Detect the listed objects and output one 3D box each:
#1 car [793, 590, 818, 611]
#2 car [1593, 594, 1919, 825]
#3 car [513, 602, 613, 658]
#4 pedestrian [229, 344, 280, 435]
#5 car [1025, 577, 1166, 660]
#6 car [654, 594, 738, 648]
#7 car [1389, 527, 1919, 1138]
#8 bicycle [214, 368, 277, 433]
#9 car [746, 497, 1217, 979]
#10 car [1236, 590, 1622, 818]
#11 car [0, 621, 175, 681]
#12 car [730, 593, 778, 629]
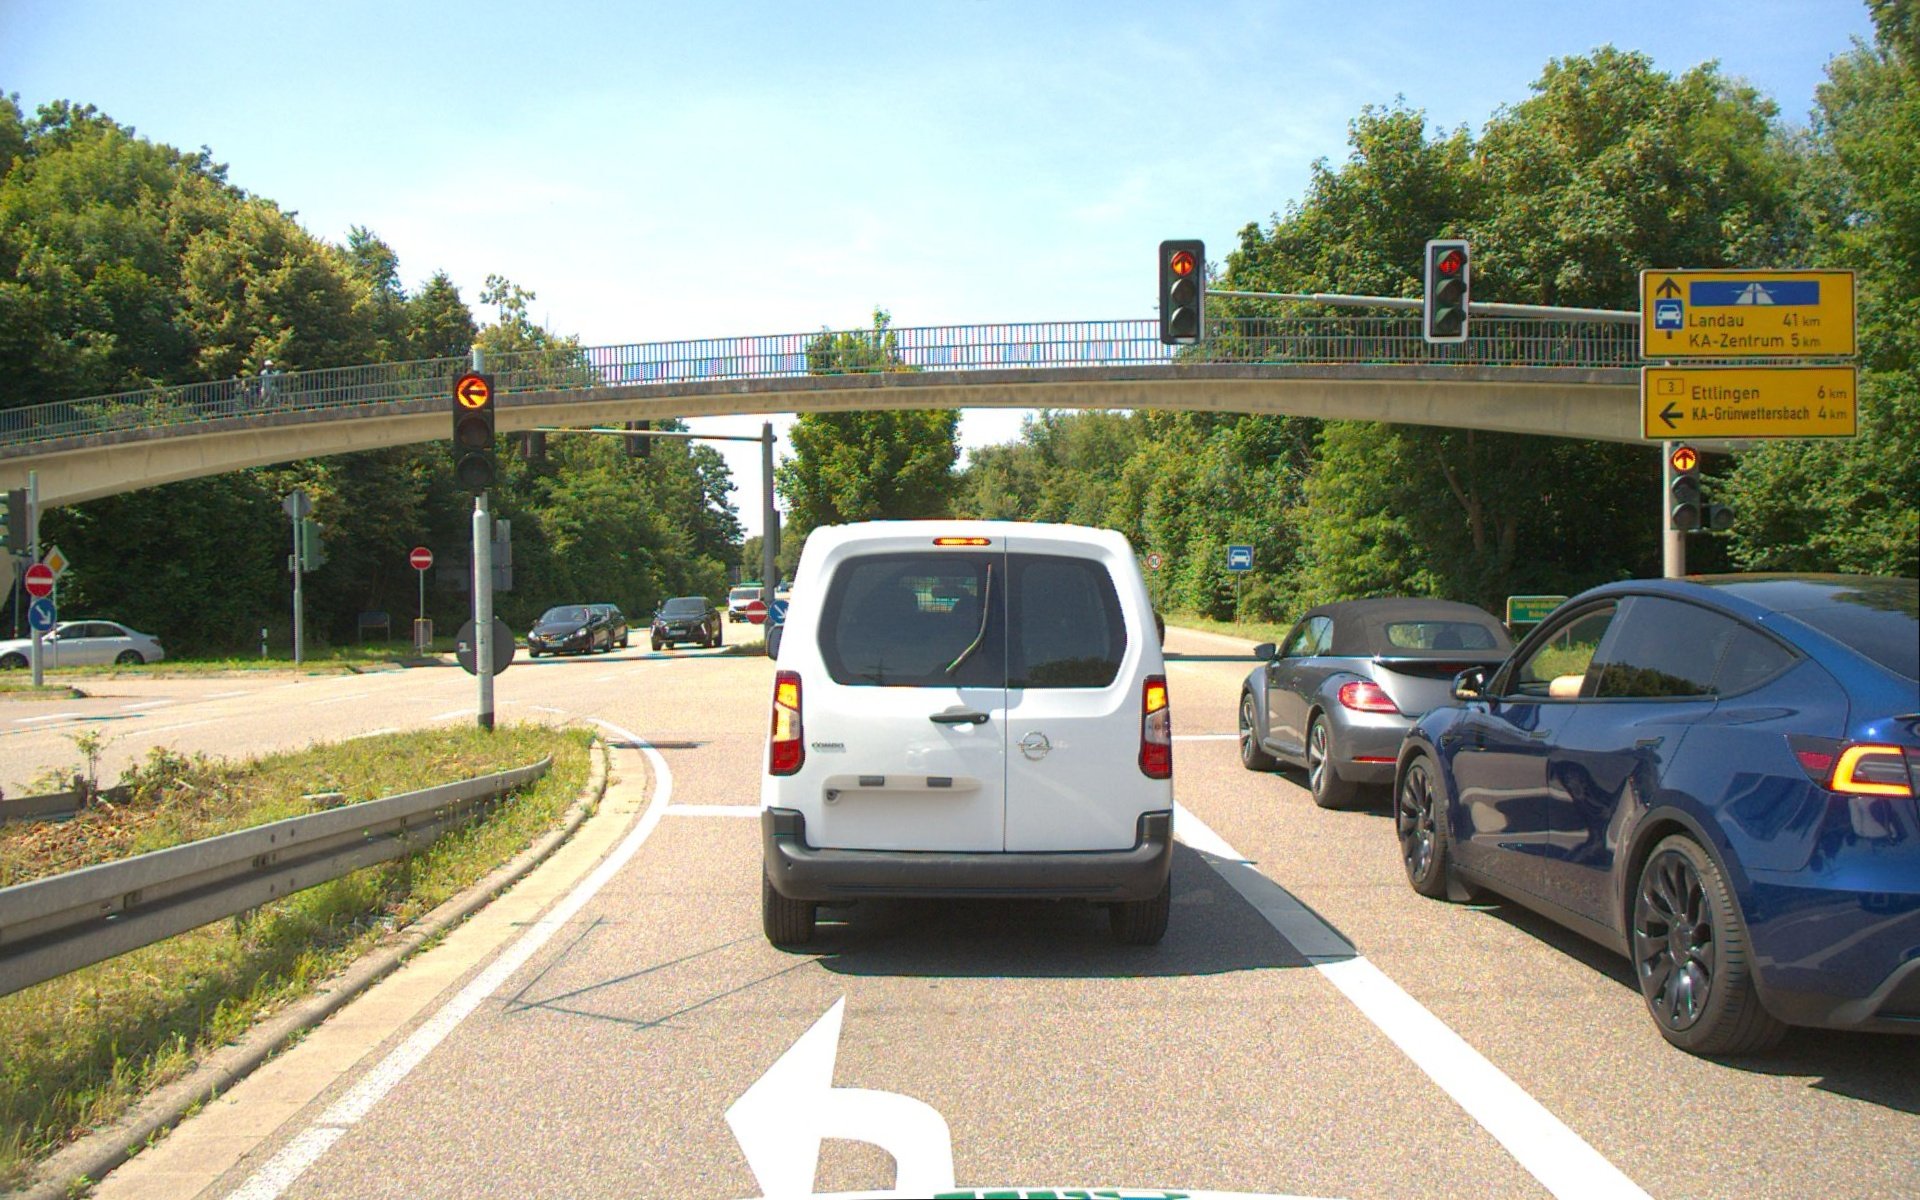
[{"bbox_3d":[-16.218,0.039,173.969,2.163,2.028,4.733,-2,0,-1],"label":"car"},{"bbox_3d":[6.827,0.726,13.129,1.862,1.503,4.379,1,0,-1],"label":"car"},{"bbox_3d":[-11.659,0.843,48.839,1.967,1.486,4.054,-2,0,-1],"label":"car"},{"bbox_3d":[-18.217,-5.433,42.730,0.765,2.177,0.932,-3,-2,15],"label":"pedestrian"},{"bbox_3d":[3.292,0.385,39.169,1.999,1.728,5.088,-3,0,20],"label":"car"},{"bbox_3d":[-7.993,0.619,50.420,1.953,1.550,4.027,1,0,-1],"label":"car"},{"bbox_3d":[3.324,0.635,6.817,1.862,1.673,4.519,1,0,-1],"label":"car"},{"bbox_3d":[-18.370,-5.109,42.505,1.494,1.500,0.470,-3,-2,15],"label":"bicycle"},{"bbox_3d":[0.030,0.510,8.430,1.812,1.857,3.980,1,1,-2],"label":"car"},{"bbox_3d":[3.465,0.684,13.022,1.862,1.503,3.938,1,0,-1],"label":"car"},{"bbox_3d":[-23.575,1.317,43.679,1.965,1.397,4.751,-1,1,43],"label":"car"},{"bbox_3d":[-12.177,0.636,97.991,2.163,2.028,5.487,-2,0,-1],"label":"car"}]
